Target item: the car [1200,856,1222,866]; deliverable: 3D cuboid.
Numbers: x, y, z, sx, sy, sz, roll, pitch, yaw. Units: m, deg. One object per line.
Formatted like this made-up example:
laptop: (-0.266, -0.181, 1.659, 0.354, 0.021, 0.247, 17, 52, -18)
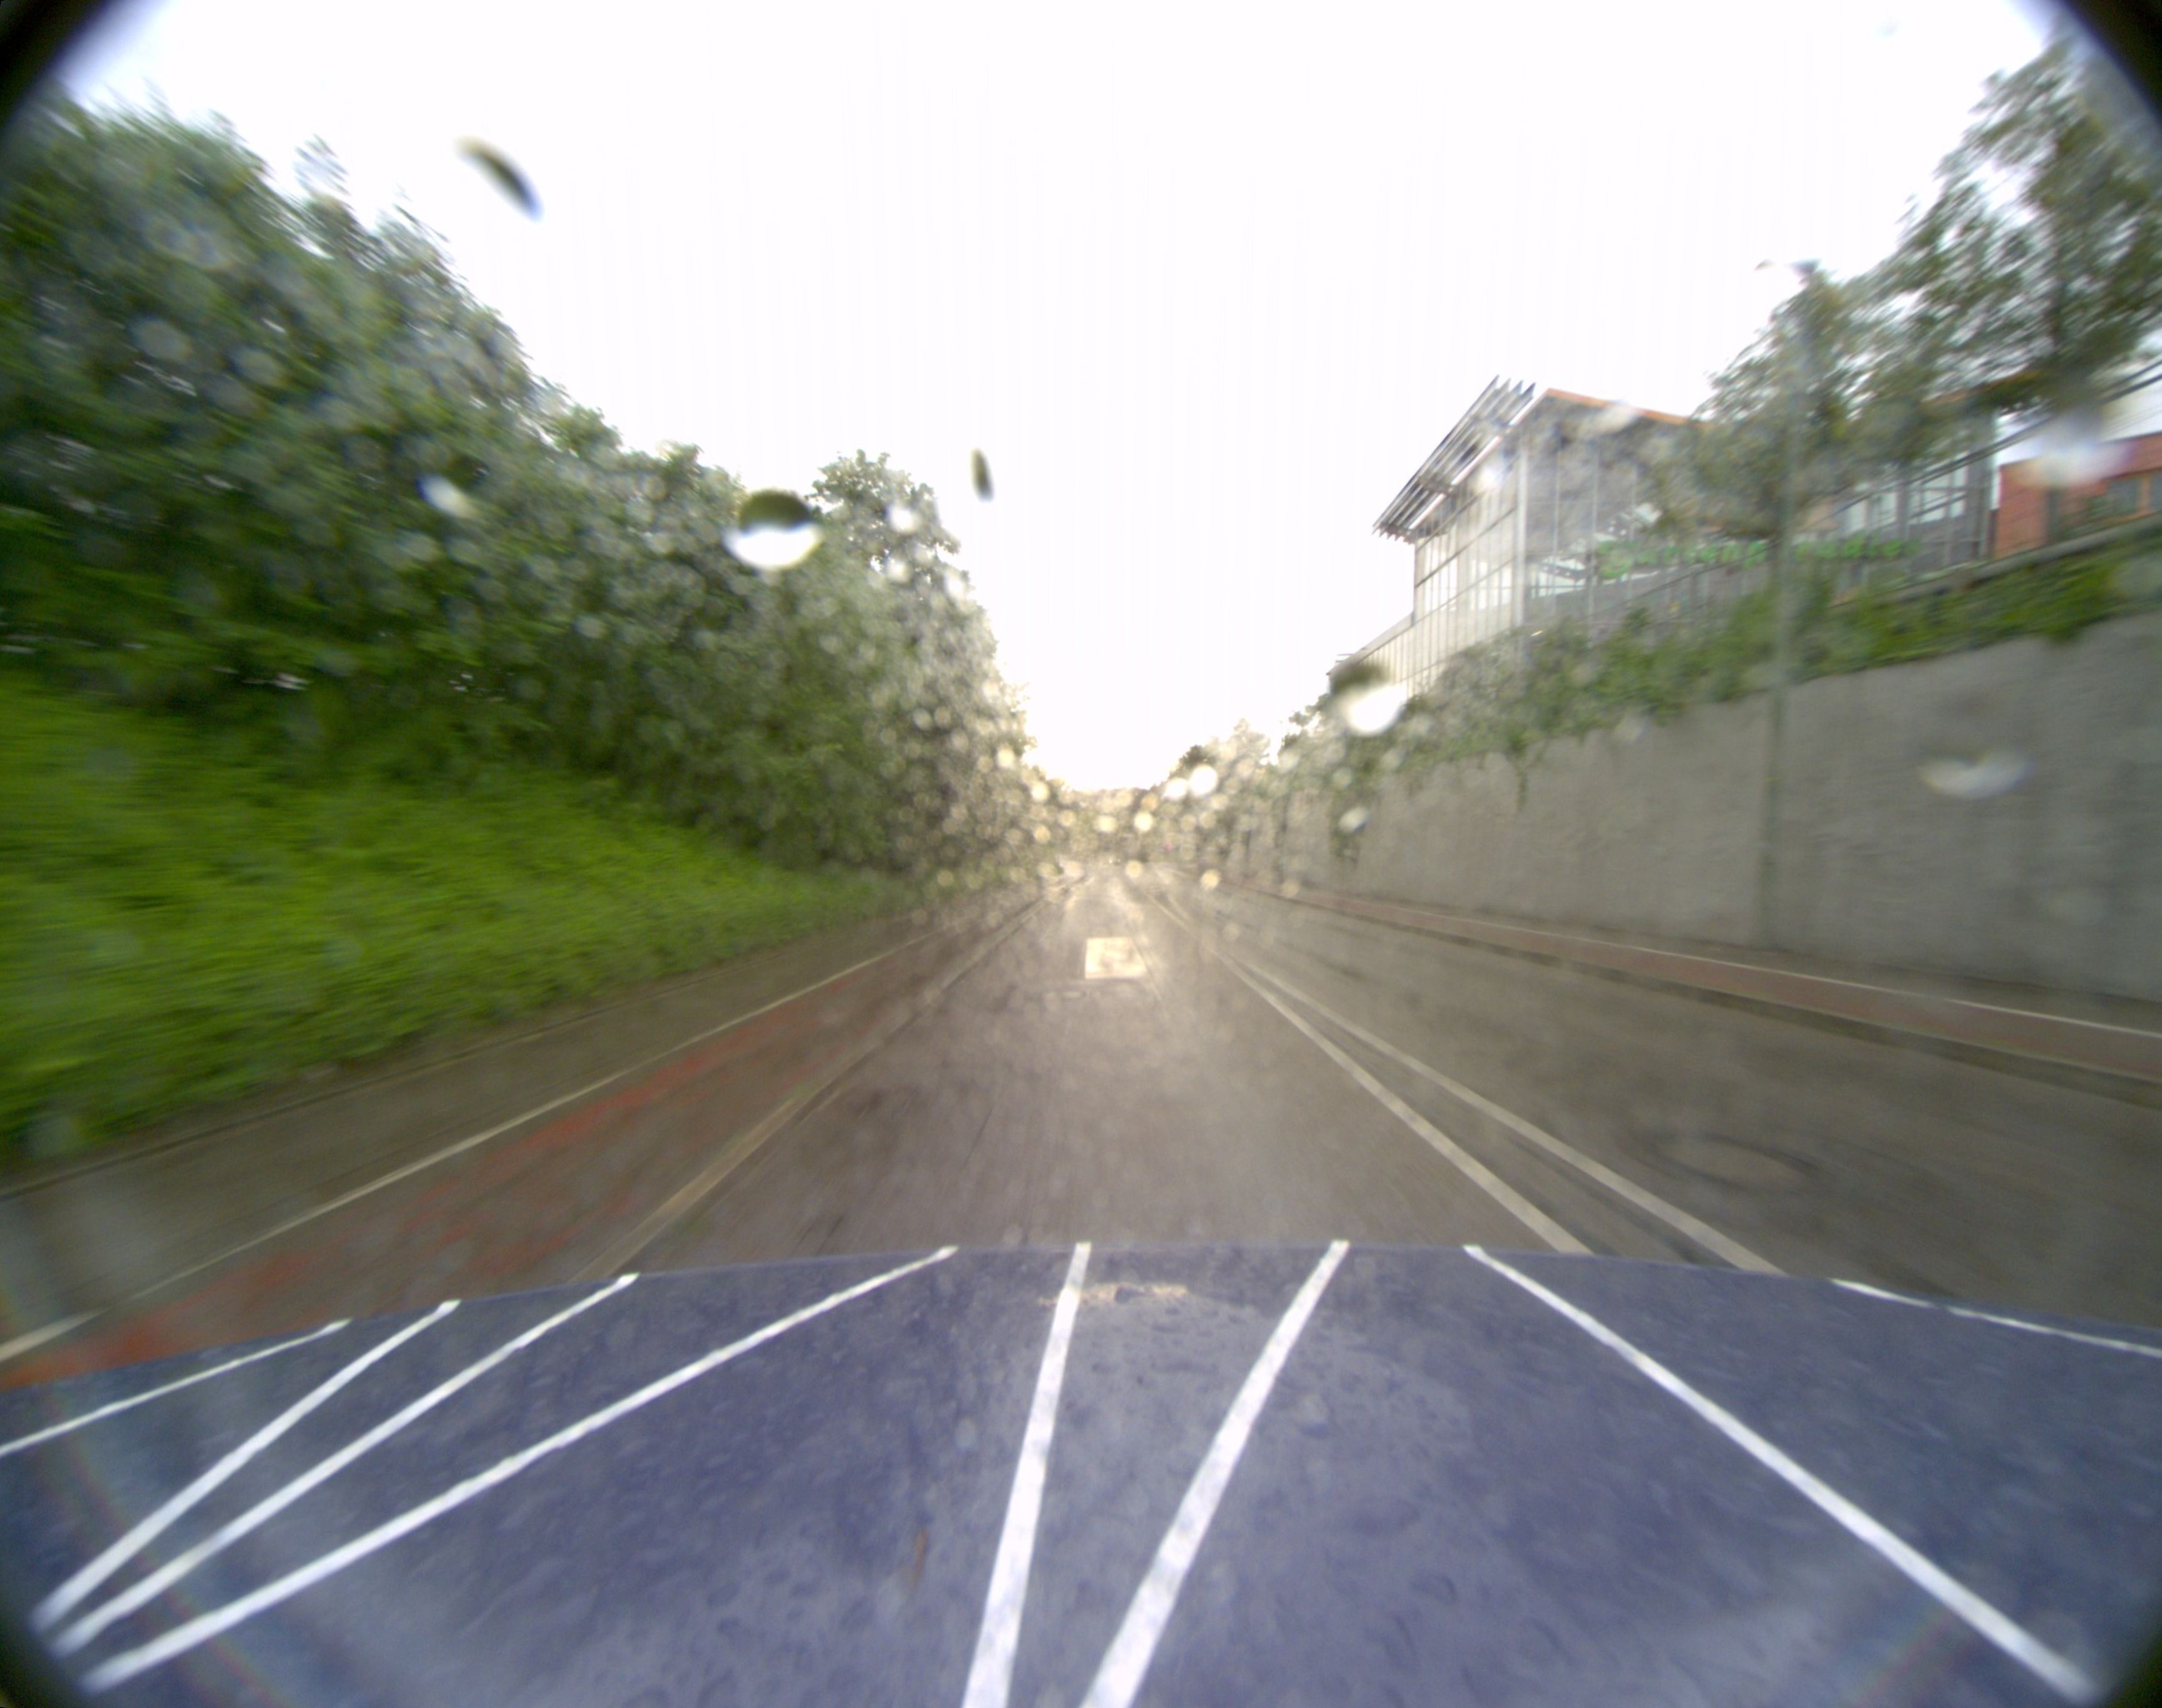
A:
car: (19.107, 1.019, 111.764, 1.513, 1.440, 3.825, -1, 0, 40)
